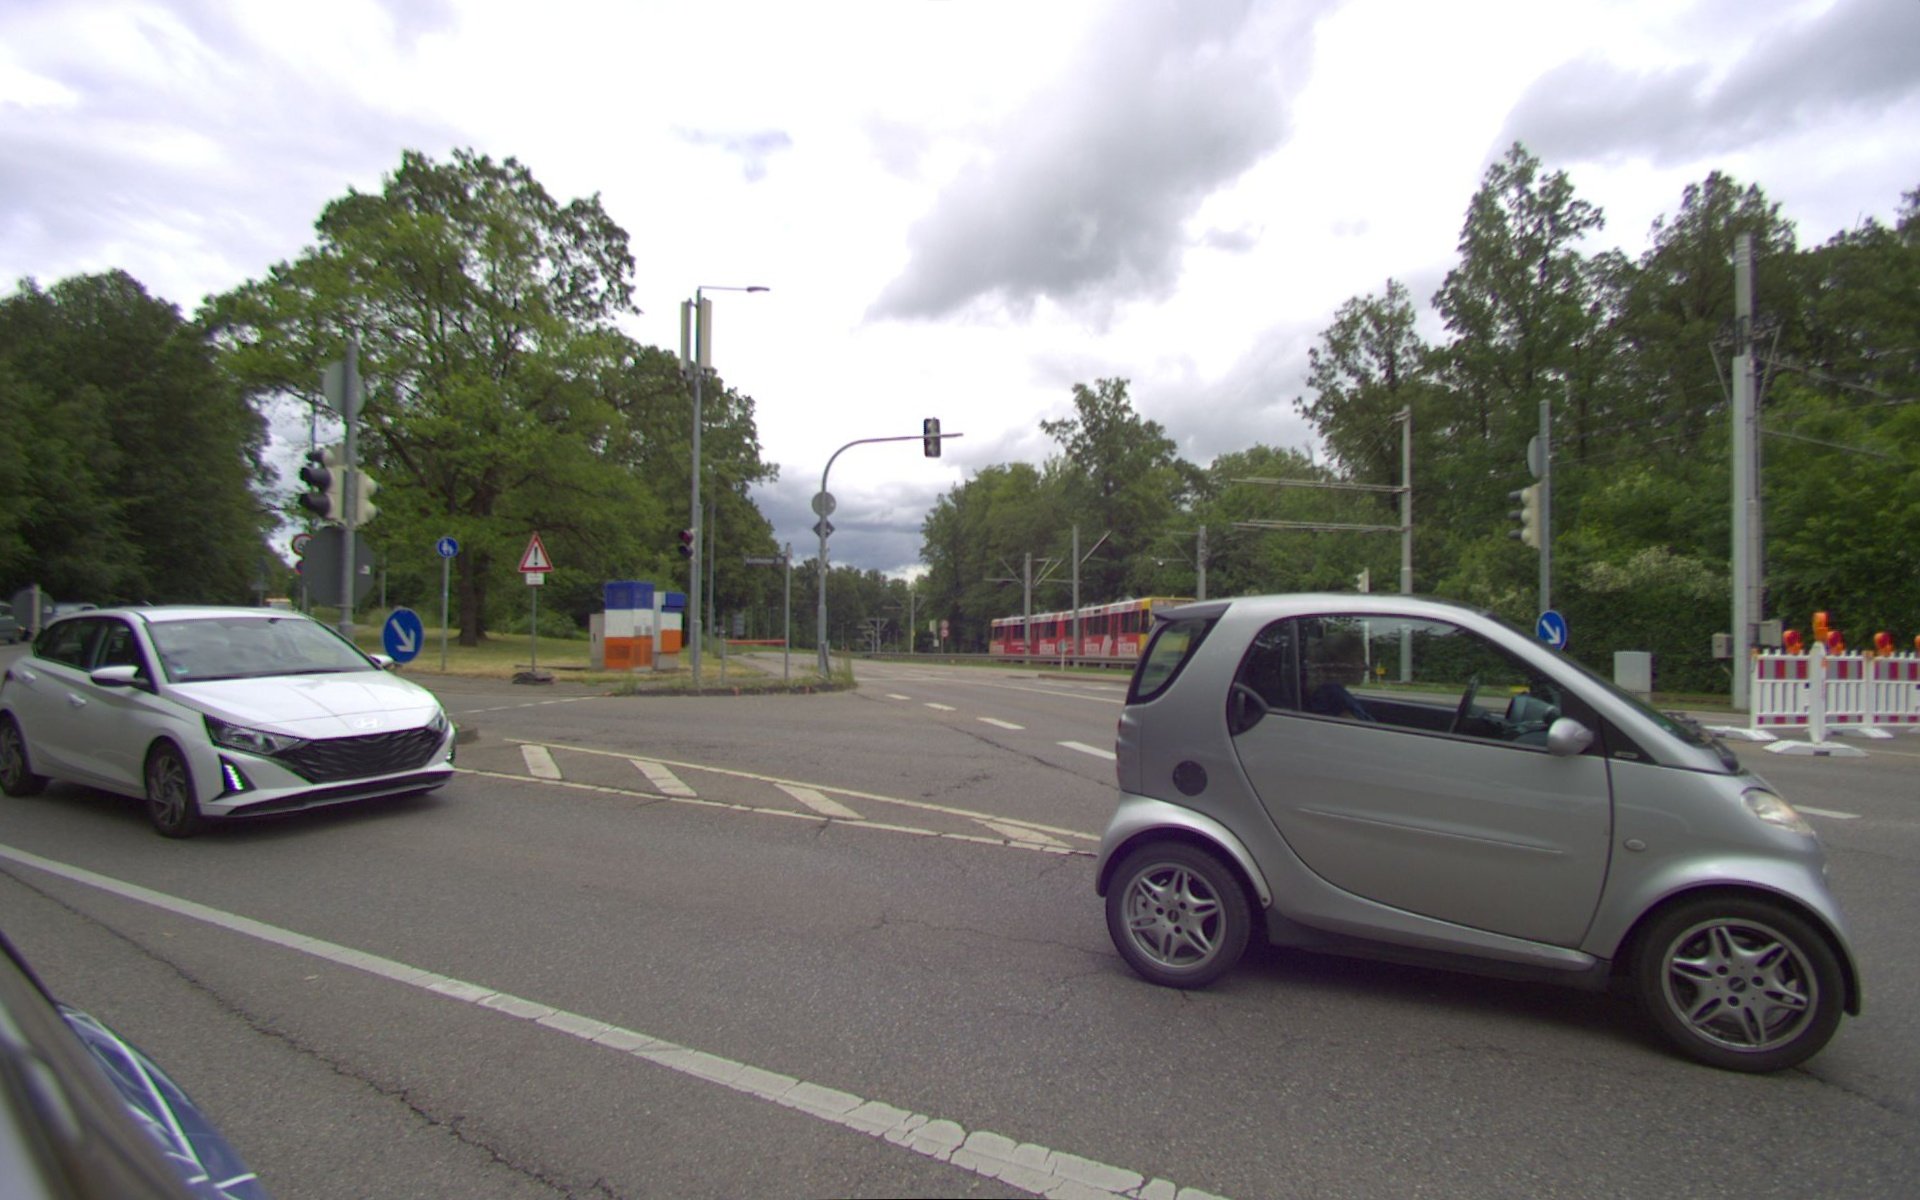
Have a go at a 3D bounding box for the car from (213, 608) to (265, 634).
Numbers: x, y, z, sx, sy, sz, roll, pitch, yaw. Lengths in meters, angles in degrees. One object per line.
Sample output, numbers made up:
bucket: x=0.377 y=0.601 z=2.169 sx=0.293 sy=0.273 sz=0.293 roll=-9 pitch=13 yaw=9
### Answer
car: x=-44.291 y=1.307 z=62.240 sx=1.748 sy=1.511 sz=3.885 roll=3 pitch=-2 yaw=-23

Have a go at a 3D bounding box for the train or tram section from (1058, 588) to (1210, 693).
train or tram section: x=8.883 y=1.918 z=55.697 sx=2.910 sy=4.685 sz=18.573 roll=2 pitch=-1 yaw=-7

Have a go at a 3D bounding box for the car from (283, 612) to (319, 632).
car: x=-54.553 y=1.848 z=83.820 sx=1.748 sy=1.511 sz=3.885 roll=3 pitch=-2 yaw=-23

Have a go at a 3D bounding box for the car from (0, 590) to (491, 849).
car: x=-5.600 y=0.721 z=7.616 sx=4.055 sy=1.490 sz=1.639 roll=1 pitch=-3 yaw=29

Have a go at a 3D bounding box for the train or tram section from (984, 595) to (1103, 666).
train or tram section: x=5.586 y=1.963 z=74.047 sx=2.916 sy=4.451 sz=18.778 roll=3 pitch=-1 yaw=-13

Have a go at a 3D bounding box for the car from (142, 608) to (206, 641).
car: x=-39.683 y=1.239 z=51.170 sx=1.749 sy=1.511 sz=3.885 roll=3 pitch=-3 yaw=-26

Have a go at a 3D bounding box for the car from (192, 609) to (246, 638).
car: x=-41.637 y=1.314 z=56.971 sx=1.749 sy=1.511 sz=3.885 roll=3 pitch=-3 yaw=-26

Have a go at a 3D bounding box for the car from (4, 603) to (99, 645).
car: x=-35.863 y=0.965 z=40.066 sx=1.749 sy=1.511 sz=3.885 roll=3 pitch=-3 yaw=-26

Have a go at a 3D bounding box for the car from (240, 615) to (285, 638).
car: x=-47.660 y=1.819 z=69.256 sx=1.748 sy=1.511 sz=3.885 roll=3 pitch=-2 yaw=-23

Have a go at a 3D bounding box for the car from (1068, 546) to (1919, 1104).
car: x=1.969 y=0.661 z=4.093 sx=2.712 sy=1.598 sz=1.450 roll=1 pitch=-3 yaw=25

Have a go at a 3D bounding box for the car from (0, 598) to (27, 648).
car: x=-33.208 y=0.735 z=33.758 sx=1.763 sy=1.687 sz=4.004 roll=2 pitch=-3 yaw=-23

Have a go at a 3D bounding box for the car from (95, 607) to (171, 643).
car: x=-37.120 y=1.139 z=45.520 sx=1.749 sy=1.511 sz=3.885 roll=3 pitch=-3 yaw=-26
